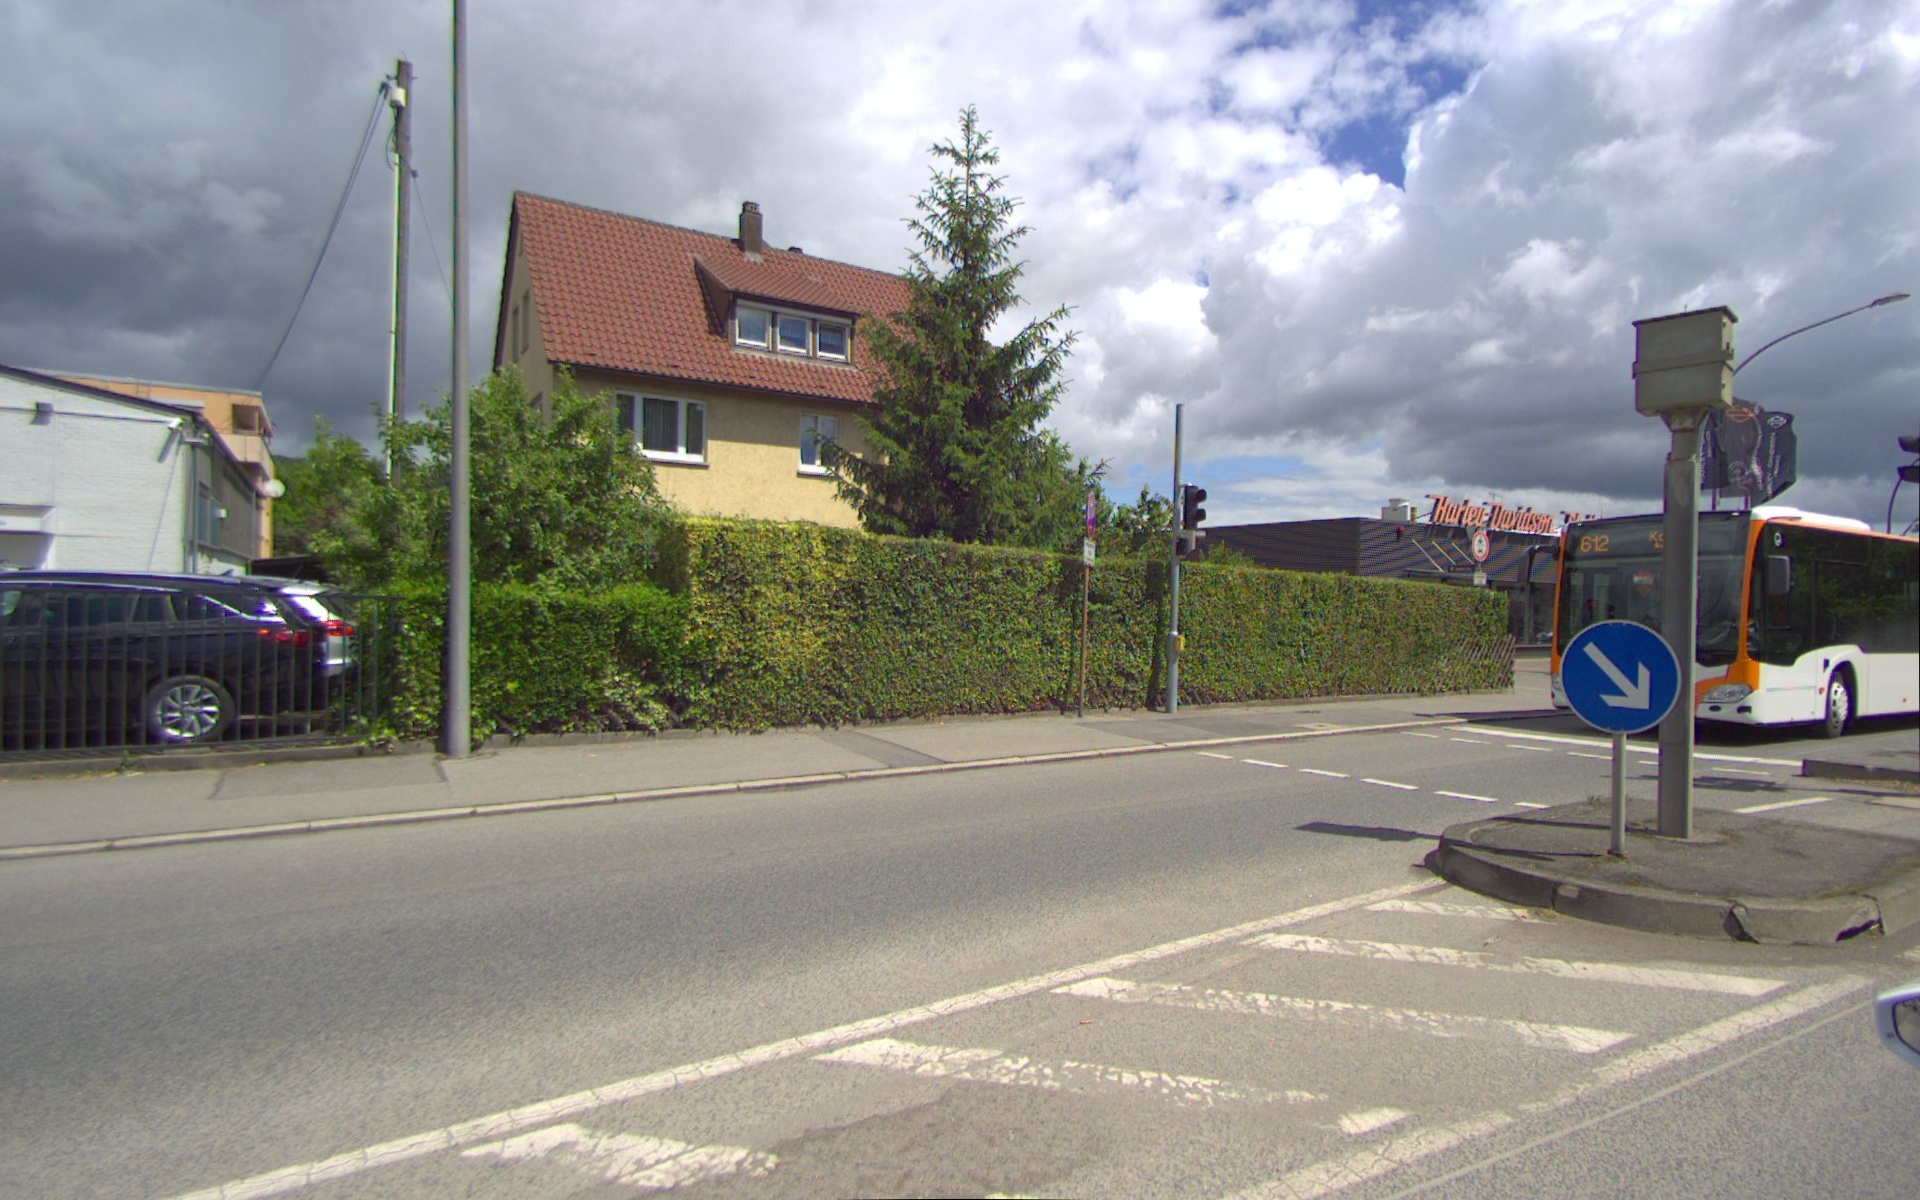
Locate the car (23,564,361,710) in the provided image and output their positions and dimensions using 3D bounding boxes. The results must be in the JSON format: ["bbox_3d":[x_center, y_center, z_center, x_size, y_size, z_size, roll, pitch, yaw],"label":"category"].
[{"bbox_3d":[-11.831,0.565,15.881,3.953,2.040,1.984,2,0,-30],"label":"car"}]

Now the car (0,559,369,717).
[{"bbox_3d":[-9.021,0.399,11.355,3.953,1.561,1.984,2,0,-30],"label":"car"}]

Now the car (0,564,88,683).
[{"bbox_3d":[-17.991,0.351,17.420,3.953,2.040,1.984,2,0,-30],"label":"car"}]

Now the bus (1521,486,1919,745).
[{"bbox_3d":[13.866,0.363,16.174,12.123,3.071,2.706,2,-1,-31],"label":"bus"}]

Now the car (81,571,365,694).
[{"bbox_3d":[-13.328,0.591,18.524,3.953,2.040,1.984,2,0,-30],"label":"car"}]

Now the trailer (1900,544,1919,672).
[{"bbox_3d":[37.236,0.468,36.407,15.429,4.107,2.775,2,0,-40],"label":"trailer"}]

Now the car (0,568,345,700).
[{"bbox_3d":[-10.729,0.438,13.627,3.953,1.569,1.984,2,0,-30],"label":"car"}]

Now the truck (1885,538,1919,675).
[{"bbox_3d":[31.697,0.278,31.735,6.448,4.107,2.775,2,0,-40],"label":"truck"}]

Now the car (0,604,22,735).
[{"bbox_3d":[-16.714,1.045,14.696,3.953,2.040,1.984,2,0,-30],"label":"car"}]

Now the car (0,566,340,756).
[{"bbox_3d":[-7.861,0.482,8.852,3.997,1.502,1.850,2,0,-31],"label":"car"}]
